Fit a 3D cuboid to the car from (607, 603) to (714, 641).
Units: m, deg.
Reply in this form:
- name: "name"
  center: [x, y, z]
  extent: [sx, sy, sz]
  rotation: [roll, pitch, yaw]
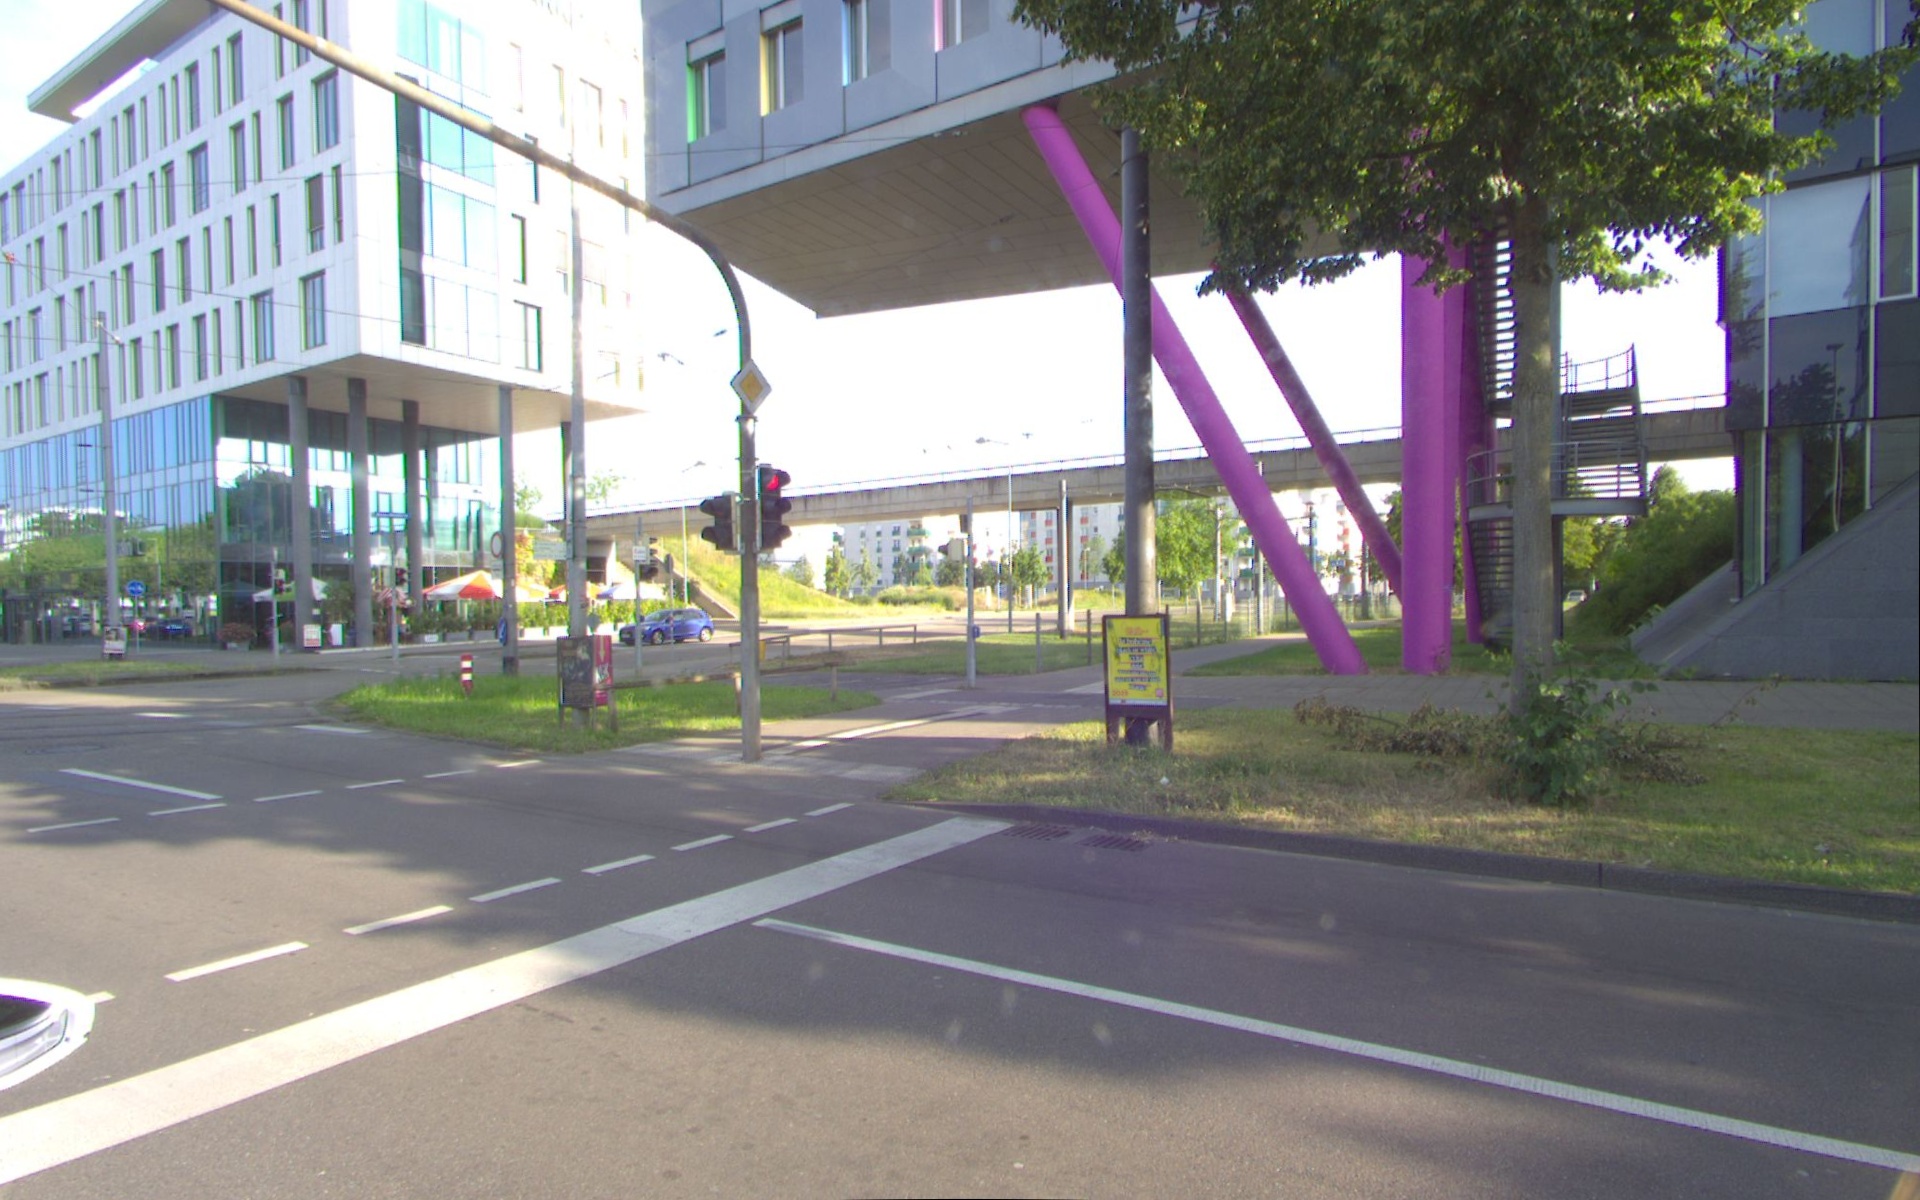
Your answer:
- name: "car"
  center: [-12.469, 0.885, 41.943]
  extent: [1.832, 1.443, 4.176]
  rotation: [0, 1, 31]
